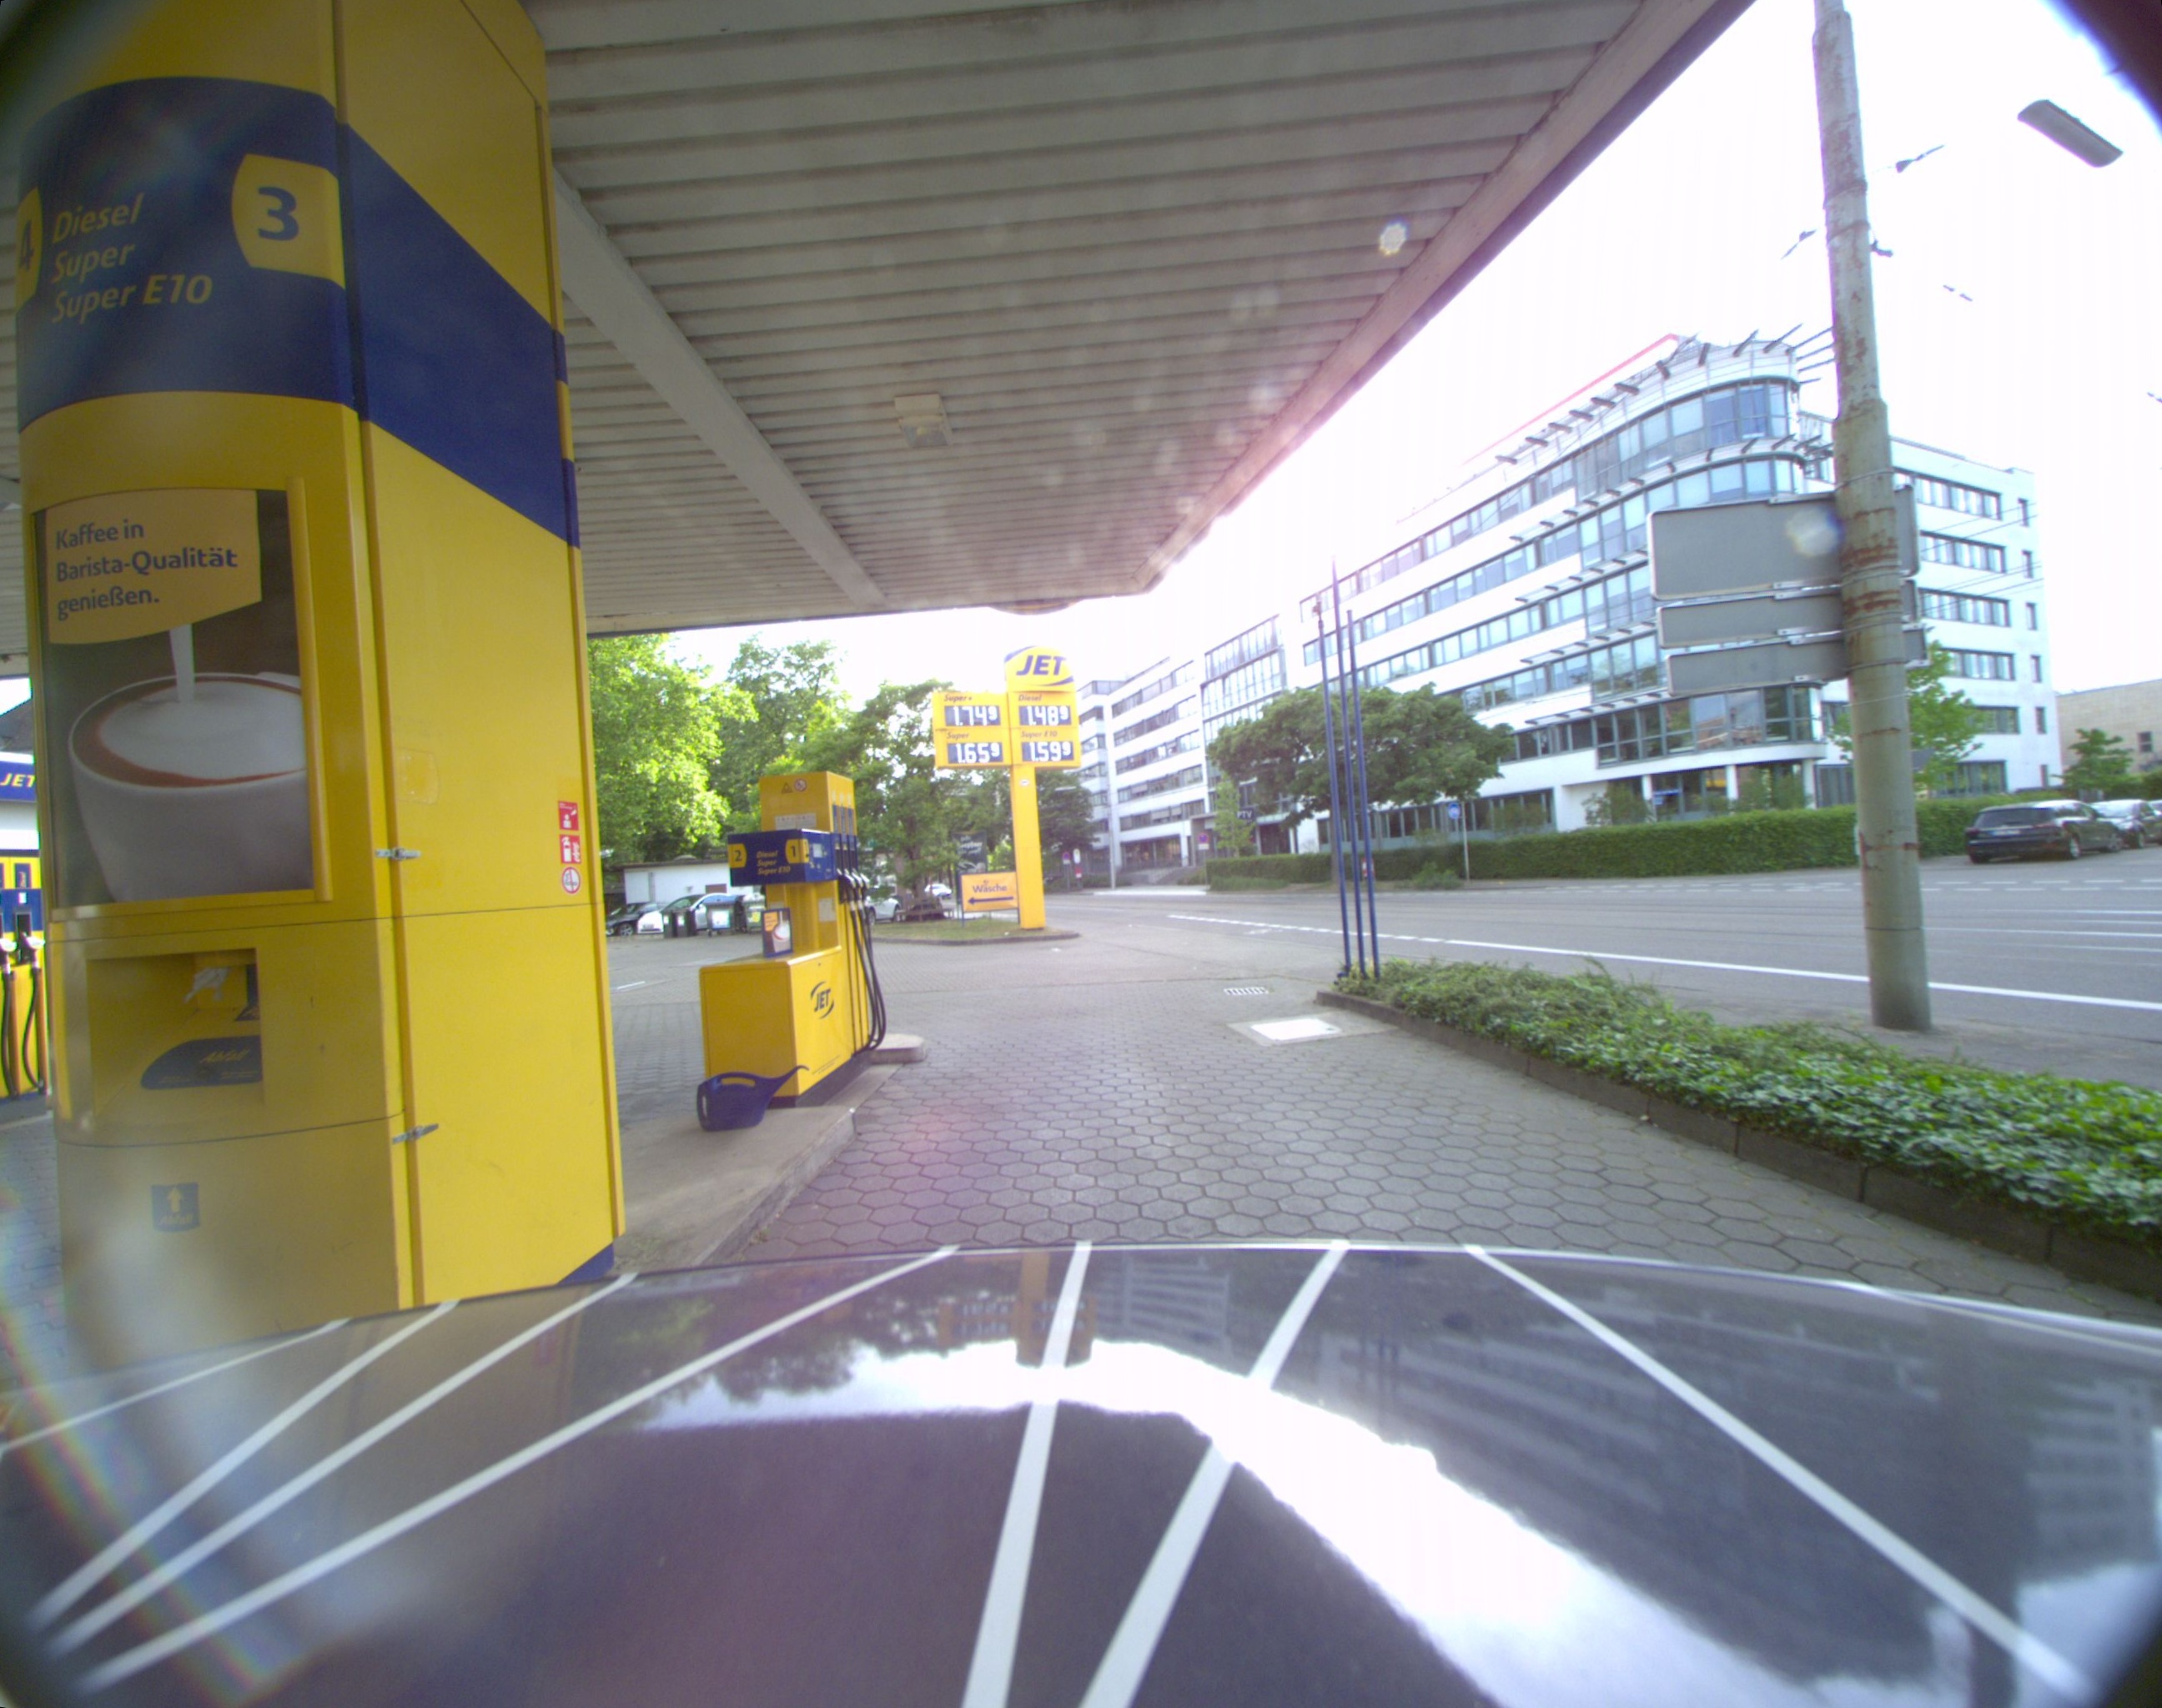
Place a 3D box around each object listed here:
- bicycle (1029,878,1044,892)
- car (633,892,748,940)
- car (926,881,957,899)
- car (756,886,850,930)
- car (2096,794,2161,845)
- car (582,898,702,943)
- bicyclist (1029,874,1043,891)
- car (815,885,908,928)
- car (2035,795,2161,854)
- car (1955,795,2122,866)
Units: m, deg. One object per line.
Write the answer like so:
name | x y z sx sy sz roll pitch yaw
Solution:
bicycle | -3.967 2.747 67.469 0.792 1.232 1.879 -2 0 -22
car | -15.394 2.405 30.253 1.823 1.575 4.200 -4 -2 10
car | -13.737 3.477 74.571 1.865 1.500 4.820 -5 0 -23
car | -11.751 2.258 32.464 1.823 1.575 4.200 -4 -2 10
car | 37.100 -1.258 26.013 4.201 1.568 1.820 -4 -1 -24
car | -17.539 2.623 30.607 1.823 1.426 4.200 -4 -2 10
bicyclist | -4.003 2.519 67.504 0.792 1.443 1.174 -3 1 -22
car | -8.661 2.040 30.376 1.823 1.449 4.200 -4 -2 10
car | 32.571 -0.964 24.065 4.201 1.568 1.820 -4 -1 -24
car | 27.413 -0.674 21.755 4.397 1.678 1.820 -4 -1 -24
